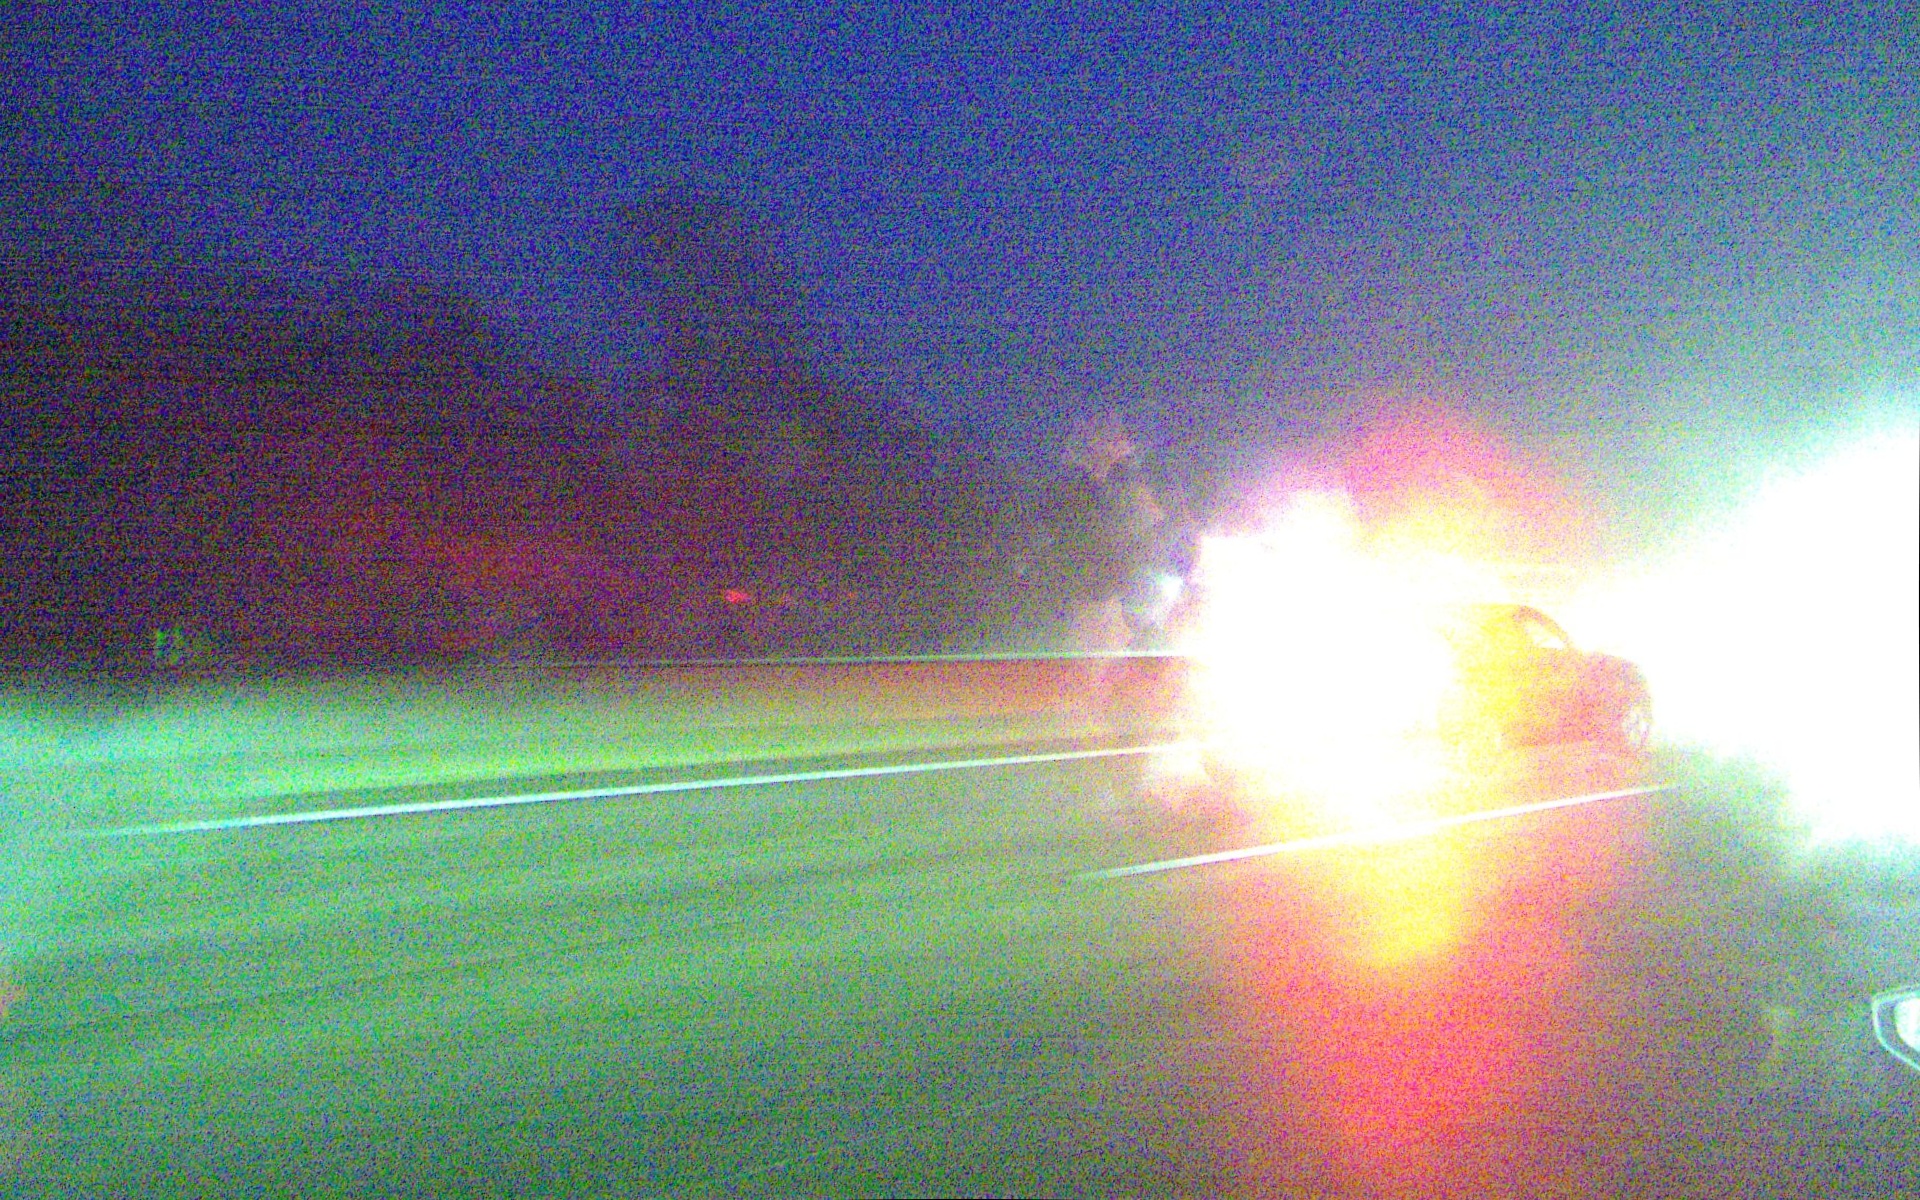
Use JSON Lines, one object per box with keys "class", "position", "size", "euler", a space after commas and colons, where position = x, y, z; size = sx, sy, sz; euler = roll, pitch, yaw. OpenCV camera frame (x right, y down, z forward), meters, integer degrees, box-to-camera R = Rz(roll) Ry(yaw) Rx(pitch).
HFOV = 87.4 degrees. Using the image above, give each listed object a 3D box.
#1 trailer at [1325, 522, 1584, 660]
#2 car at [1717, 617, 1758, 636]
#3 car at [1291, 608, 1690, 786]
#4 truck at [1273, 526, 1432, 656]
{"class": "trailer", "position": [19.887, -0.068, 39.707], "size": [13.769, 4.602, 2.534], "euler": [3, -3, -33]}
{"class": "car", "position": [81.376, 2.739, 105.142], "size": [4.216, 1.812, 1.779], "euler": [1, 2, -28]}
{"class": "car", "position": [5.974, 0.929, 11.119], "size": [4.700, 1.561, 1.847], "euler": [1, 0, -33]}
{"class": "truck", "position": [14.077, -0.184, 35.896], "size": [5.582, 4.209, 2.523], "euler": [3, -3, -33]}
